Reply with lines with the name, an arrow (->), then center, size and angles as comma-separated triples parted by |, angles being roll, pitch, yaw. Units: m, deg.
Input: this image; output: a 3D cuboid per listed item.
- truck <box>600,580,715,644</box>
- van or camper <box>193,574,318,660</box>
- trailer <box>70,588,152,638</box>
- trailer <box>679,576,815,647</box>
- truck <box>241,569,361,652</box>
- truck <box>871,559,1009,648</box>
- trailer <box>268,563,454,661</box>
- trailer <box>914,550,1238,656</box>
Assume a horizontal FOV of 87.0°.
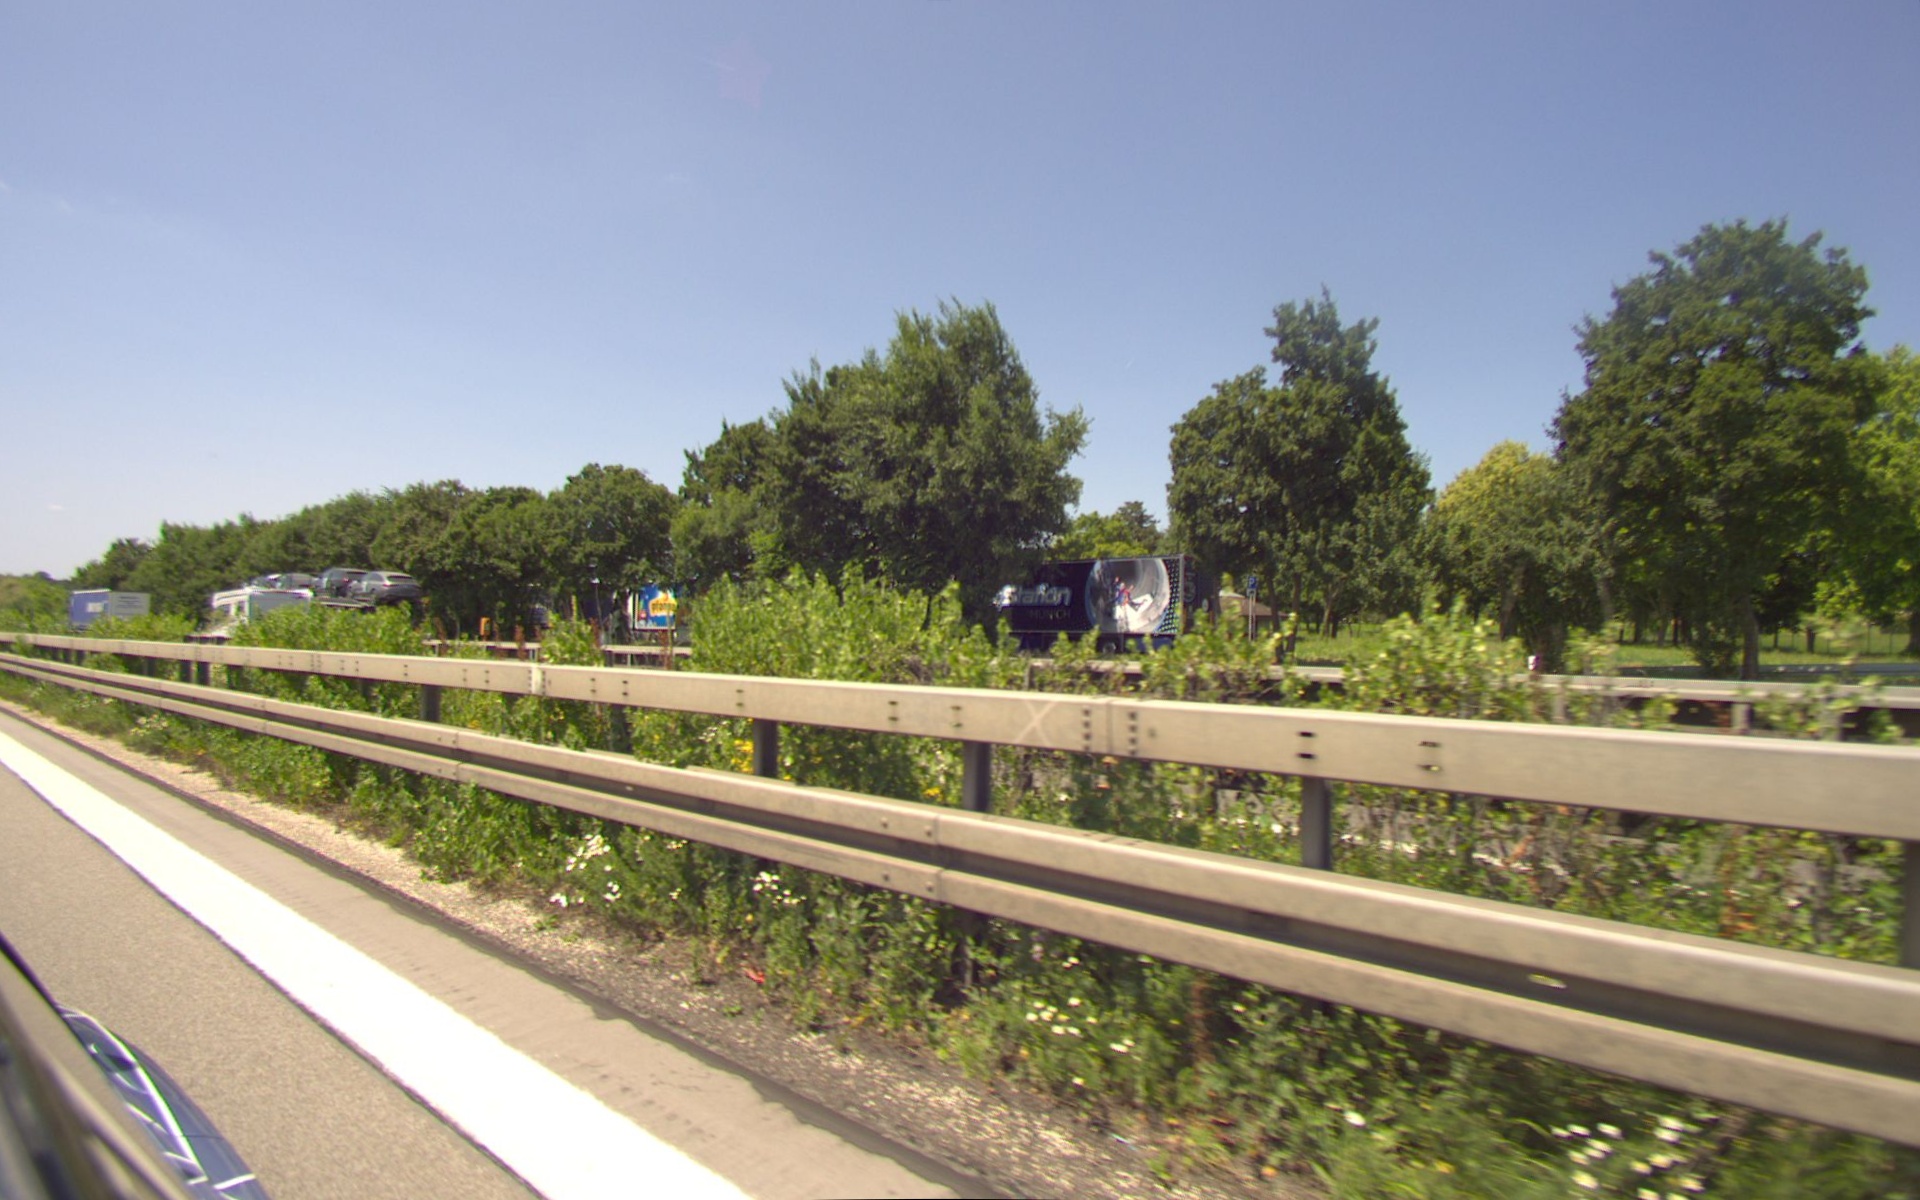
truck -> -18.577, 0.710, 61.821 | 8.389, 3.661, 2.529 | -1, 0, 39
van or camper -> -29.697, 0.735, 42.533 | 7.371, 3.292, 2.497 | -1, -3, 41
trailer -> -69.560, 1.054, 82.732 | 14.521, 3.762, 2.813 | -1, 0, 41
trailer -> -11.966, 0.645, 56.366 | 8.705, 3.689, 2.520 | -1, 0, 39
truck -> -33.411, 0.519, 51.143 | 9.148, 3.848, 2.648 | -1, 0, 41
truck -> -0.972, 0.159, 46.736 | 6.096, 3.811, 2.767 | -1, 0, 41
trailer -> -27.576, 0.514, 45.978 | 15.172, 3.876, 2.657 | -1, 0, 41
trailer -> 4.253, 0.151, 42.151 | 14.404, 3.807, 2.739 | -1, 0, 41
